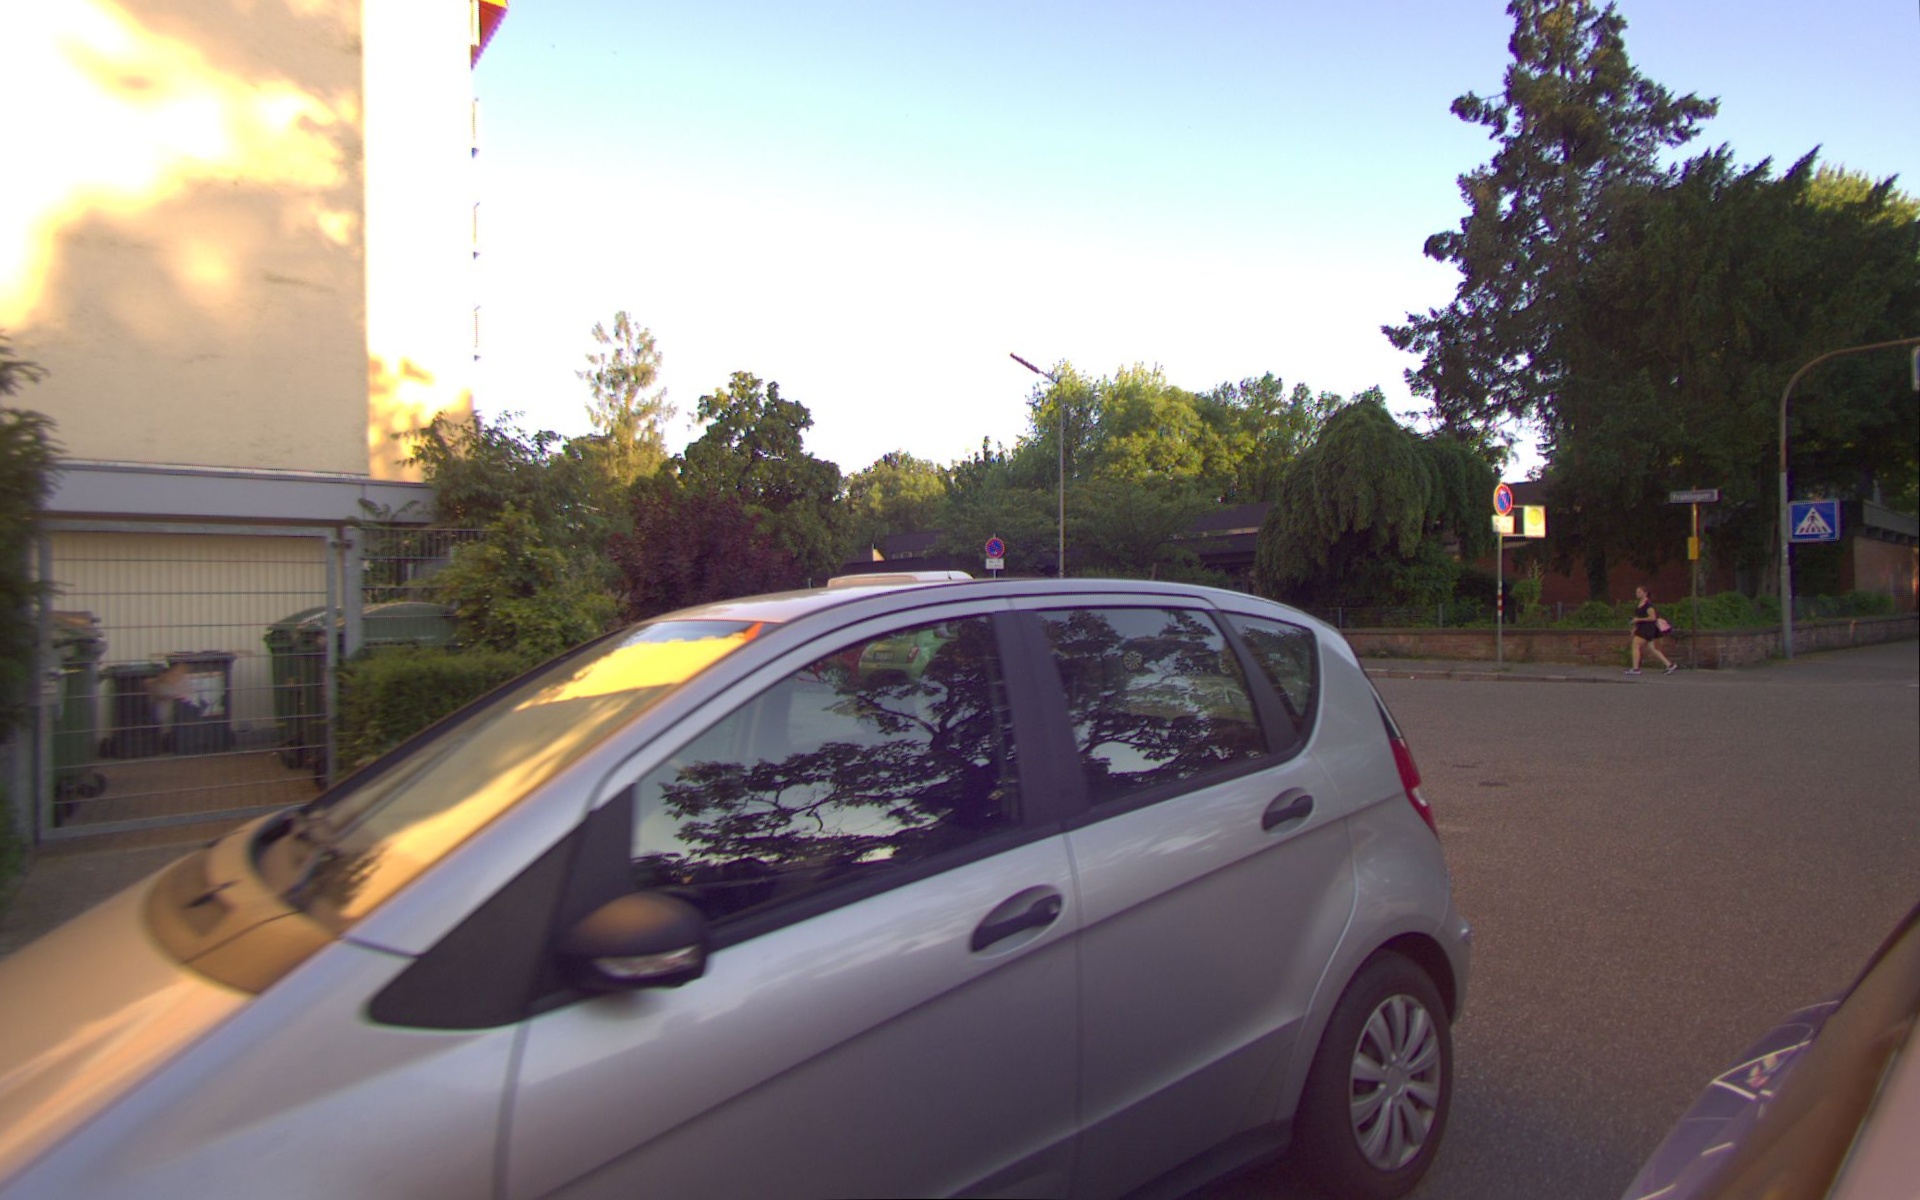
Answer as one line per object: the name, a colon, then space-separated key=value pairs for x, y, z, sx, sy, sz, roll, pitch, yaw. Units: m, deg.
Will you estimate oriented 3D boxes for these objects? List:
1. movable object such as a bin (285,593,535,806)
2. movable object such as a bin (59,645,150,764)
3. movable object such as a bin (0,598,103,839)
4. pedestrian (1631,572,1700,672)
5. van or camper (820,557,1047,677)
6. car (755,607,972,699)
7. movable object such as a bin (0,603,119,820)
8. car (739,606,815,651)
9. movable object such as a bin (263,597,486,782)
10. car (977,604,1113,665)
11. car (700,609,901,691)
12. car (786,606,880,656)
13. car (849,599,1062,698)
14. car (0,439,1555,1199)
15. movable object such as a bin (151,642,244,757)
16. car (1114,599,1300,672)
movable object such as a bin: x=-4.361 y=0.708 z=8.043 sx=1.555 sy=1.489 sz=1.125 roll=0 pitch=-2 yaw=-41
movable object such as a bin: x=-8.481 y=1.006 z=10.063 sx=0.634 sy=1.096 sz=0.782 roll=0 pitch=-2 yaw=-37
movable object such as a bin: x=-6.144 y=0.715 z=6.258 sx=1.278 sy=1.434 sz=0.878 roll=0 pitch=-2 yaw=-41
pedestrian: x=12.949 y=0.372 z=18.605 sx=0.816 sy=1.746 sz=0.855 roll=2 pitch=3 yaw=23
van or camper: x=-0.899 y=0.414 z=25.619 sx=2.058 sy=2.623 sz=6.865 roll=-2 pitch=0 yaw=-37
car: x=-1.795 y=0.951 z=19.656 sx=3.934 sy=1.572 sz=1.824 roll=0 pitch=-1 yaw=-44
movable object such as a bin: x=-6.777 y=0.750 z=7.148 sx=1.278 sy=1.434 sz=1.185 roll=0 pitch=-2 yaw=-41
car: x=-6.881 y=1.064 z=38.007 sx=1.508 sy=1.606 sz=2.948 roll=0 pitch=-1 yaw=-41
movable object such as a bin: x=-5.268 y=0.728 z=9.115 sx=1.555 sy=1.489 sz=1.185 roll=0 pitch=-2 yaw=-41
car: x=2.185 y=0.885 z=26.735 sx=1.508 sy=1.504 sz=3.504 roll=0 pitch=-1 yaw=-41
car: x=-3.357 y=1.005 z=21.748 sx=3.934 sy=1.572 sz=1.824 roll=0 pitch=-1 yaw=-44
car: x=-4.356 y=1.043 z=34.404 sx=1.508 sy=1.606 sz=3.395 roll=0 pitch=-1 yaw=-41
car: x=-0.023 y=0.841 z=17.551 sx=3.508 sy=1.532 sz=1.624 roll=3 pitch=-4 yaw=-41
car: x=-0.293 y=0.636 z=2.623 sx=3.813 sy=1.596 sz=1.814 roll=-1 pitch=-1 yaw=-37
movable object such as a bin: x=-7.889 y=0.997 z=10.486 sx=0.743 sy=1.096 sz=0.782 roll=0 pitch=-2 yaw=-37
car: x=5.538 y=0.780 z=22.981 sx=1.695 sy=1.504 sz=3.779 roll=0 pitch=-1 yaw=-44
